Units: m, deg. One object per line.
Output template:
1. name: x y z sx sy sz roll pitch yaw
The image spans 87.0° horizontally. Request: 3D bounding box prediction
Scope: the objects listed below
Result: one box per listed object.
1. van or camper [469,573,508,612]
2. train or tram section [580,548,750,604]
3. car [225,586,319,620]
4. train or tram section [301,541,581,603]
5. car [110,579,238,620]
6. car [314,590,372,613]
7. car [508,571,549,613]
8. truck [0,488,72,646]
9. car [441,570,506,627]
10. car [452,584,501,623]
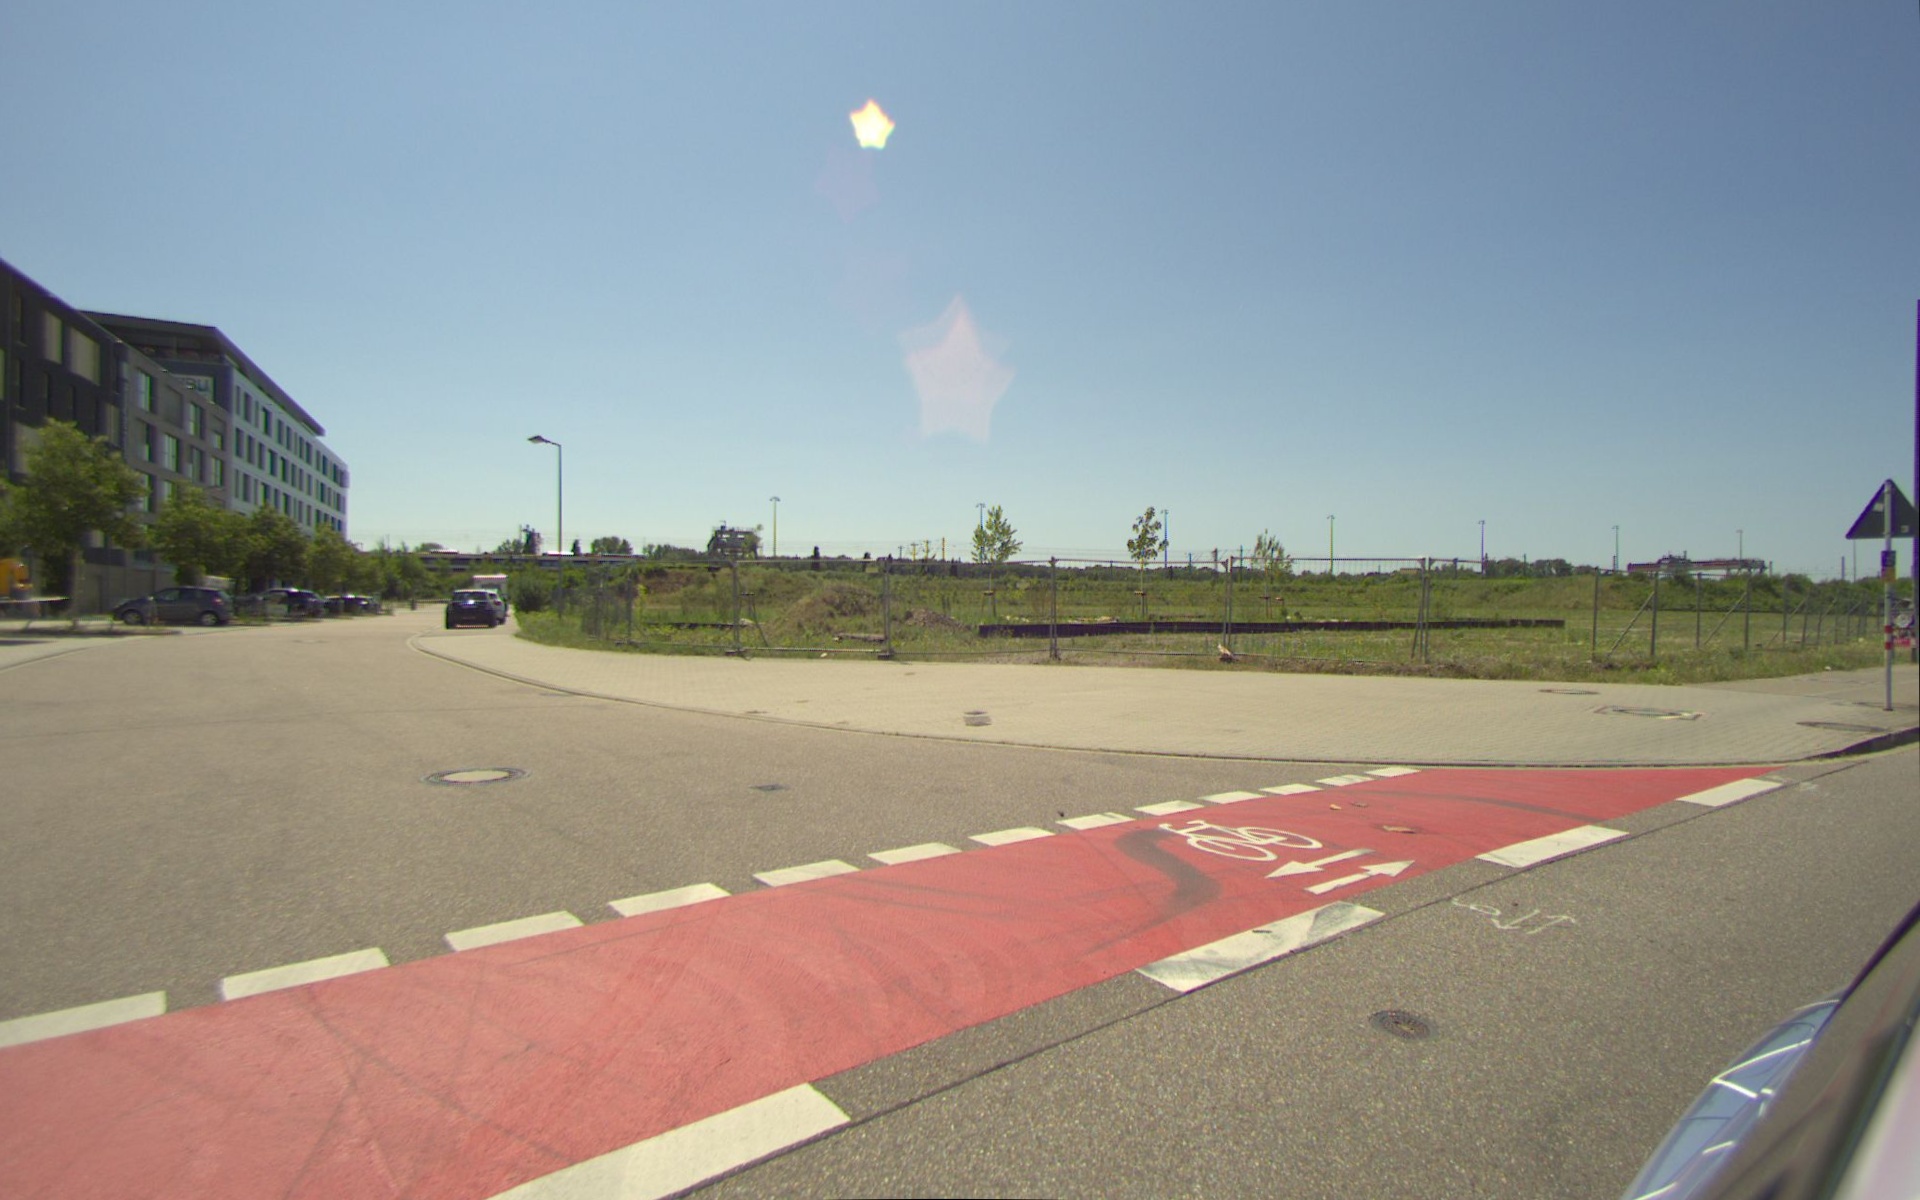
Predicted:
1. van or camper: -35.775 -0.568 76.885 2.512 2.811 6.437 0 0 -24
2. train or tram section: -56.254 -4.306 193.821 30.555 10.052 9.619 1 -1 -19
3. car: -36.517 0.177 53.834 3.935 1.721 1.677 1 0 -27
4. train or tram section: -91.650 -4.655 181.875 43.839 10.052 9.619 1 -1 -19
5. car: -29.576 -0.004 38.192 3.508 1.471 1.698 1 0 -26
6. car: -46.726 0.096 76.736 3.582 1.721 1.621 1 0 -27
7. car: -22.353 -0.385 52.407 1.841 2.039 3.922 -1 -1 -24
8. truck: -27.187 -0.809 21.694 11.885 3.504 3.025 0 1 -23
9. car: -18.433 -0.064 38.483 1.841 2.039 3.924 0 0 -21
10. car: -20.655 0.156 43.337 1.712 1.577 4.052 1 0 -24
